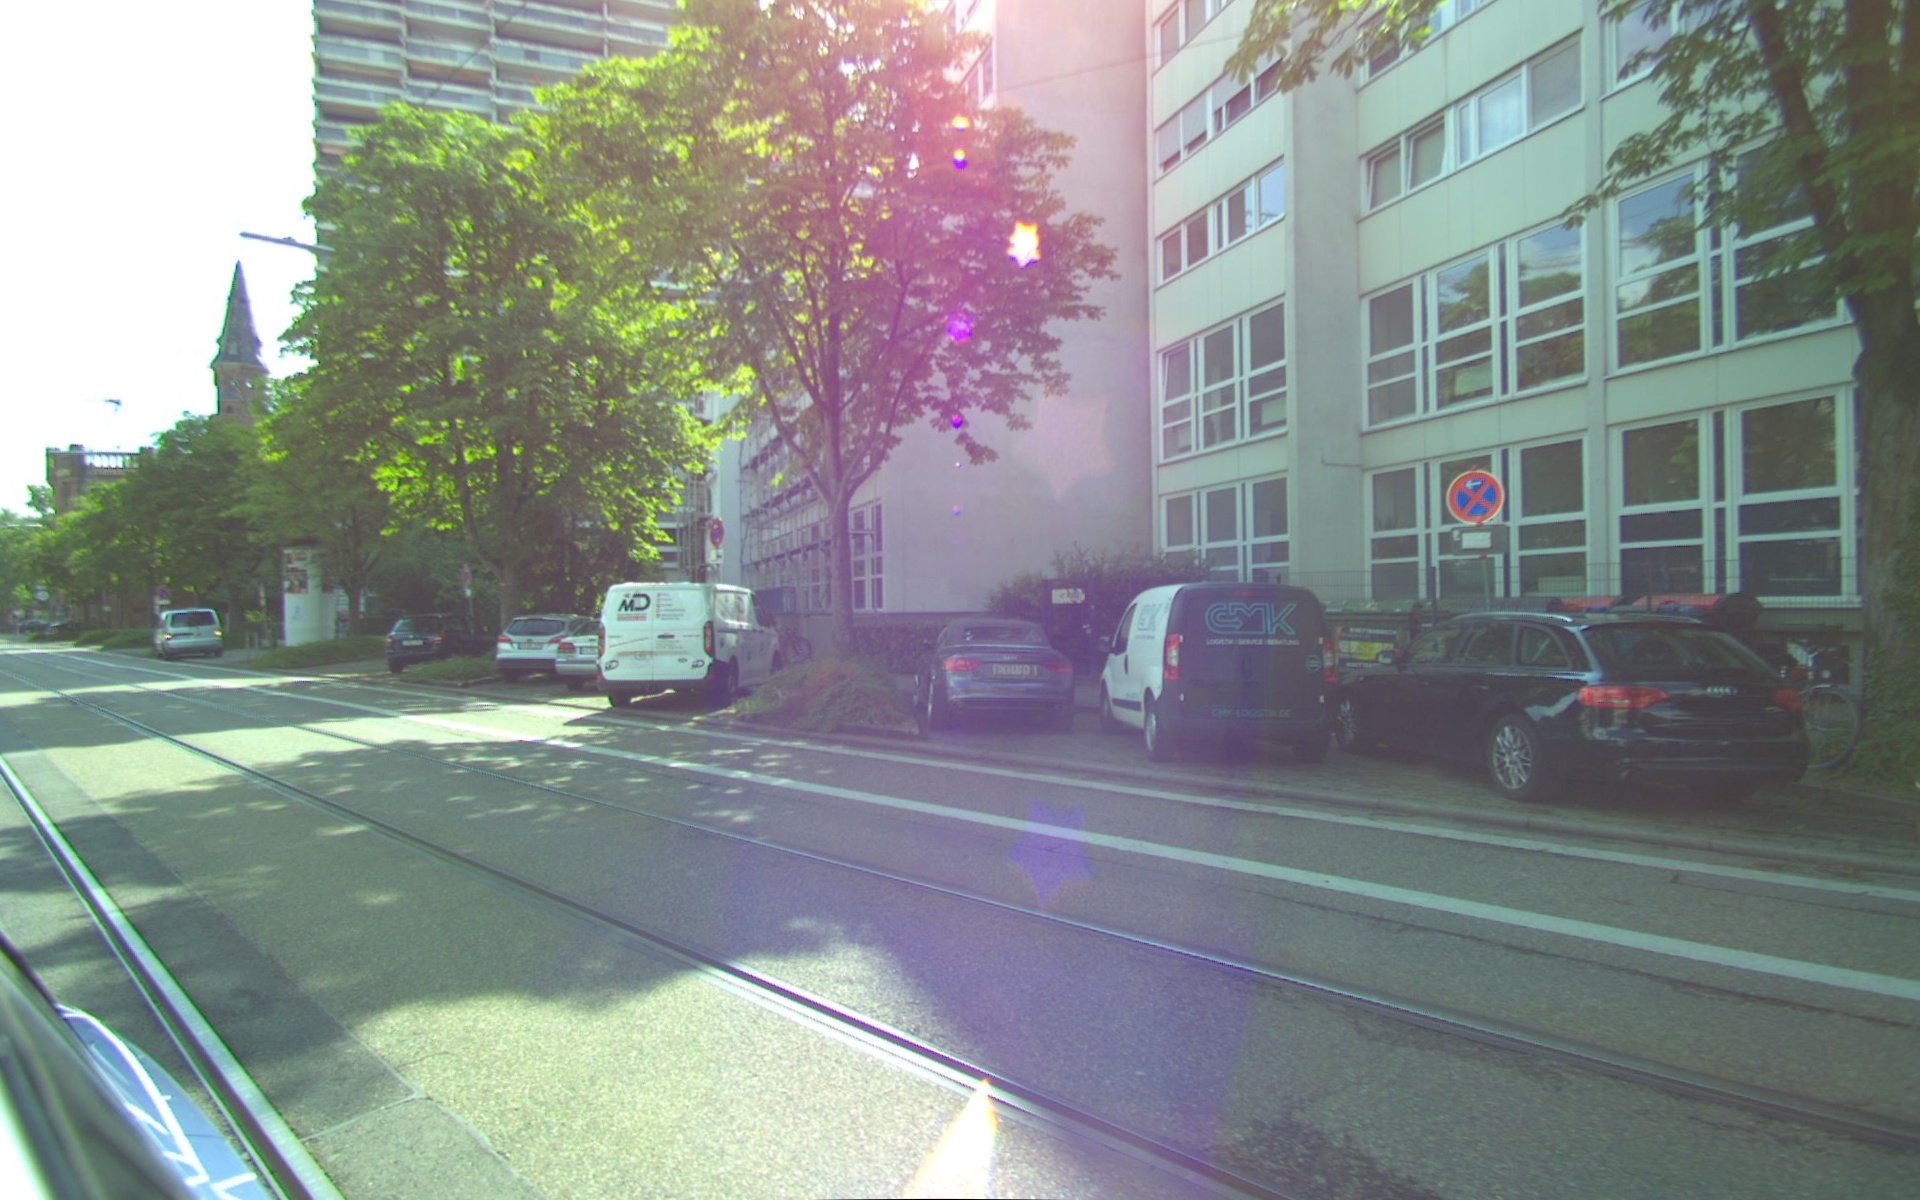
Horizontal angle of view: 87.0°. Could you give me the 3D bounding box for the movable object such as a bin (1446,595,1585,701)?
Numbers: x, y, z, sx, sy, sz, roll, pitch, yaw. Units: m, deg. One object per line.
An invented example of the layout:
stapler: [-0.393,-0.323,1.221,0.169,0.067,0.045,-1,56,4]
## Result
movable object such as a bin: [7.542,0.646,13.759,1.441,1.337,1.151,-1,-3,42]

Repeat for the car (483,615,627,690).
car: [-9.080,1.125,23.082,1.795,1.512,4.196,-1,-1,-3]

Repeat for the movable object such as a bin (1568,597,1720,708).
movable object such as a bin: [8.612,0.645,12.747,1.441,1.293,1.155,-1,-3,42]

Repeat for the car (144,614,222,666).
car: [-31.212,1.557,40.603,4.238,1.865,1.866,-1,3,45]

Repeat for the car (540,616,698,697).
car: [-6.839,1.075,20.772,1.797,1.461,4.170,-1,-1,1]

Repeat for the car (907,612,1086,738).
car: [0.327,0.940,13.621,1.695,1.428,4.007,1,-2,-8]

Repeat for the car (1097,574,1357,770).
car: [2.599,0.699,10.776,1.735,1.706,3.715,0,-2,-1]

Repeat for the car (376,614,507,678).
car: [-13.896,1.190,27.365,1.716,1.535,3.888,-1,0,-3]

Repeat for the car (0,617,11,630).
car: [-127.770,3.111,134.885,3.952,1.586,1.606,-1,-4,44]

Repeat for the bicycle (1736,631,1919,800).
bicycle: [6.971,0.830,7.955,0.578,1.127,1.992,0,-1,12]

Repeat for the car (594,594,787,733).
car: [-4.390,0.968,17.302,1.942,2.012,4.684,-1,-1,1]

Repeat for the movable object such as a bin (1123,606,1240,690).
movable object such as a bin: [3.841,0.822,17.539,1.537,1.374,1.373,-1,-3,39]

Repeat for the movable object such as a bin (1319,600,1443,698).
movable object such as a bin: [6.364,0.736,15.295,1.440,1.391,1.180,-1,-3,40]

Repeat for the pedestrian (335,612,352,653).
pedestrian: [-27.752,1.446,45.577,0.516,1.767,0.636,-3,3,-39]

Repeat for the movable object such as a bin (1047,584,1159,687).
movable object such as a bin: [2.635,0.660,18.634,1.537,1.795,1.373,-1,-3,39]

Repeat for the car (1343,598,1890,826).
car: [4.902,0.781,8.384,1.734,1.428,4.002,1,-2,-3]
